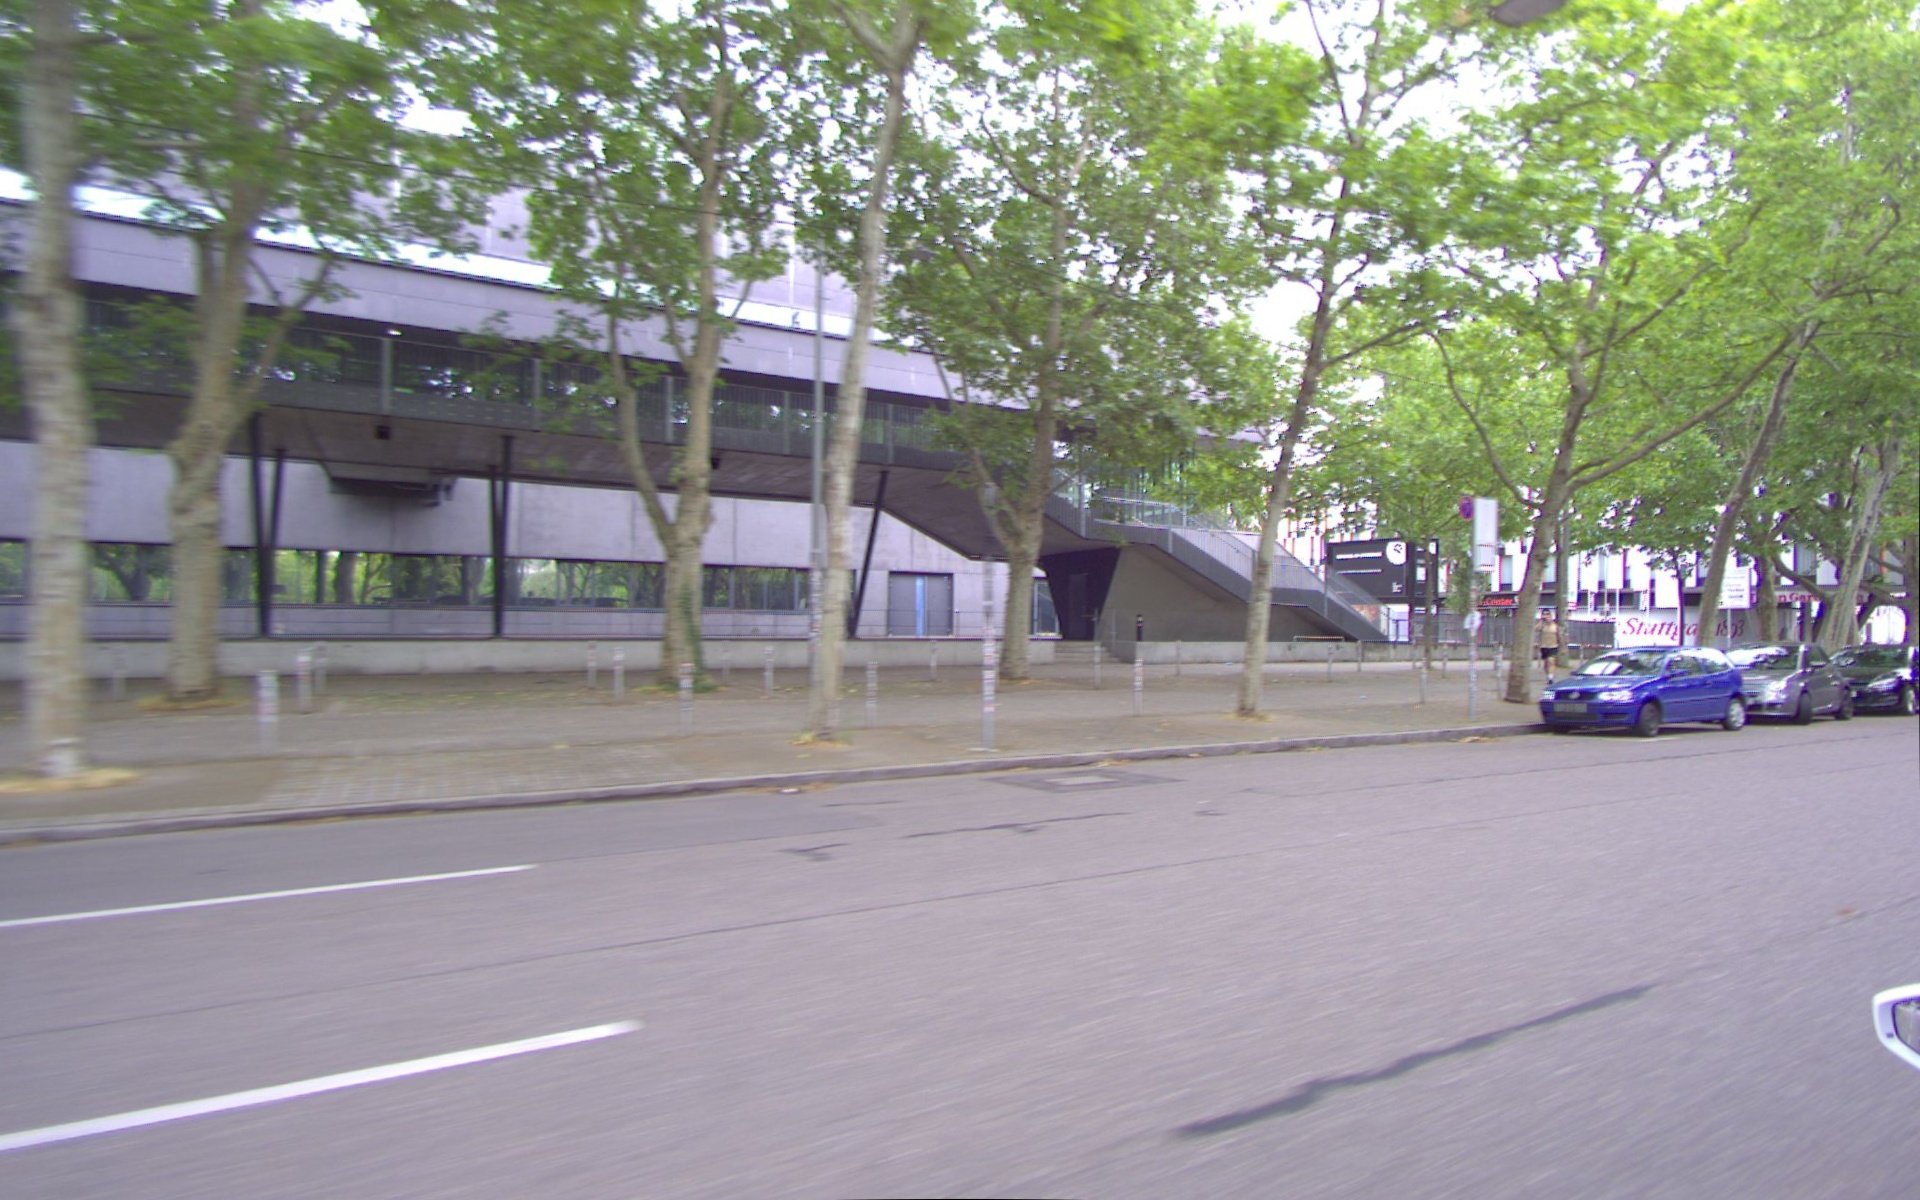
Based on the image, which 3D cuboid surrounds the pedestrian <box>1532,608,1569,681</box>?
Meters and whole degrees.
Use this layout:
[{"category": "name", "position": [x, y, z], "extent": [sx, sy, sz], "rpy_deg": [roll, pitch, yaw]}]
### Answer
[{"category": "pedestrian", "position": [15.472, 1.152, 26.349], "extent": [0.758, 1.859, 0.878], "rpy_deg": [0, -1, 26]}]

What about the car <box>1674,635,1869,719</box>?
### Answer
[{"category": "car", "position": [15.292, 1.443, 18.897], "extent": [3.721, 1.437, 1.756], "rpy_deg": [3, -5, -33]}]

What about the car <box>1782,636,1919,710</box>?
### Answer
[{"category": "car", "position": [19.298, 1.550, 21.239], "extent": [3.718, 1.437, 1.758], "rpy_deg": [2, -5, -30]}]

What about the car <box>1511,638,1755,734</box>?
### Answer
[{"category": "car", "position": [11.168, 1.405, 16.674], "extent": [3.711, 1.437, 1.690], "rpy_deg": [2, -4, -26]}]
